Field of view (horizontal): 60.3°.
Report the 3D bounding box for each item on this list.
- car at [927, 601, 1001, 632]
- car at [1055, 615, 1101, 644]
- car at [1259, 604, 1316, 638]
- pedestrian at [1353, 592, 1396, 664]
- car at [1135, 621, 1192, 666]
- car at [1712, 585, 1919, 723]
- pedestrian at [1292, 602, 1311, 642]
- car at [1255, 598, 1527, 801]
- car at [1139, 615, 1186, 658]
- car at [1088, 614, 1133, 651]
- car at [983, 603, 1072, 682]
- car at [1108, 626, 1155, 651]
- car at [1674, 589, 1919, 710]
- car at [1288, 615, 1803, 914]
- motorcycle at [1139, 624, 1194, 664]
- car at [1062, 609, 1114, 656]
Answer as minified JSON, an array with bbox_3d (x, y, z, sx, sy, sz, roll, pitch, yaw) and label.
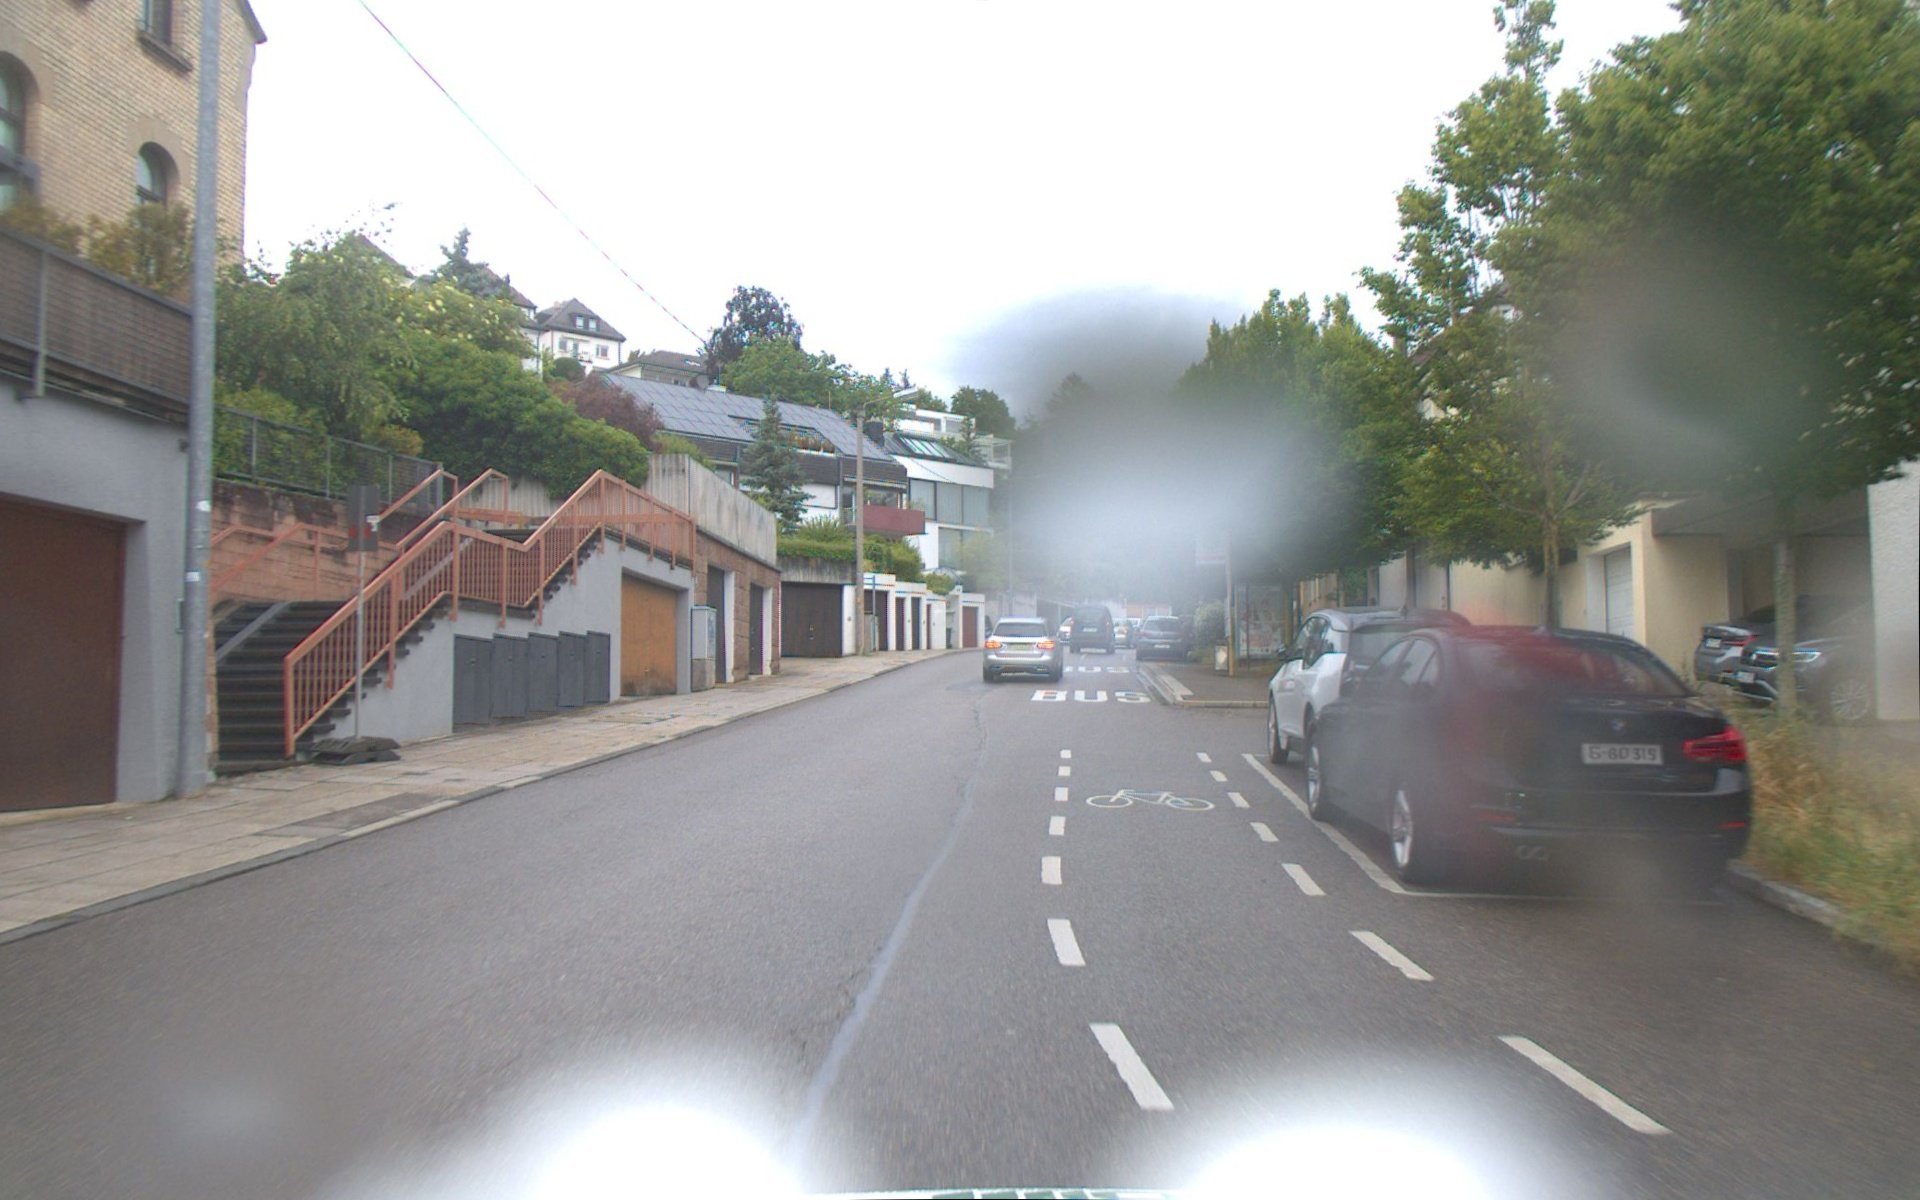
[{"bbox_3d":[0.179,0.879,87.894,1.754,1.504,3.869,2,0,-43],"label":"car"},{"bbox_3d":[6.357,1.576,88.906,1.593,1.542,3.833,0,-1,18],"label":"car"},{"bbox_3d":[25.601,1.644,129.041,2.059,2.595,6.075,-1,-1,35],"label":"car"},{"bbox_3d":[10.226,0.681,40.859,0.815,1.715,1.045,-2,-1,6],"label":"pedestrian"},{"bbox_3d":[7.015,1.467,56.957,1.838,1.441,4.471,1,0,7],"label":"car"},{"bbox_3d":[11.054,0.616,19.478,3.622,1.533,1.783,1,0,5],"label":"car"},{"bbox_3d":[15.415,0.983,74.608,0.744,1.750,0.903,-3,-2,13],"label":"pedestrian"},{"bbox_3d":[3.980,0.855,15.926,1.693,1.636,4.121,2,-1,3],"label":"car"},{"bbox_3d":[7.736,1.361,63.010,1.621,1.515,4.003,2,-1,8],"label":"car"},{"bbox_3d":[7.244,1.556,79.471,1.951,1.738,4.003,1,-1,8],"label":"car"},{"bbox_3d":[1.568,0.982,39.068,1.983,1.738,4.216,1,-1,2],"label":"car"},{"bbox_3d":[10.432,2.330,100.430,1.794,1.465,4.039,-1,-1,21],"label":"car"},{"bbox_3d":[12.038,0.654,22.088,4.207,1.506,1.831,1,0,5],"label":"car"},{"bbox_3d":[3.436,0.851,10.783,1.742,1.464,4.882,1,-1,2],"label":"car"},{"bbox_3d":[7.511,1.591,60.183,1.873,1.353,0.788,2,-1,3],"label":"motorcycle"},{"bbox_3d":[5.029,1.263,64.767,1.951,1.738,4.002,1,-1,5],"label":"car"}]
